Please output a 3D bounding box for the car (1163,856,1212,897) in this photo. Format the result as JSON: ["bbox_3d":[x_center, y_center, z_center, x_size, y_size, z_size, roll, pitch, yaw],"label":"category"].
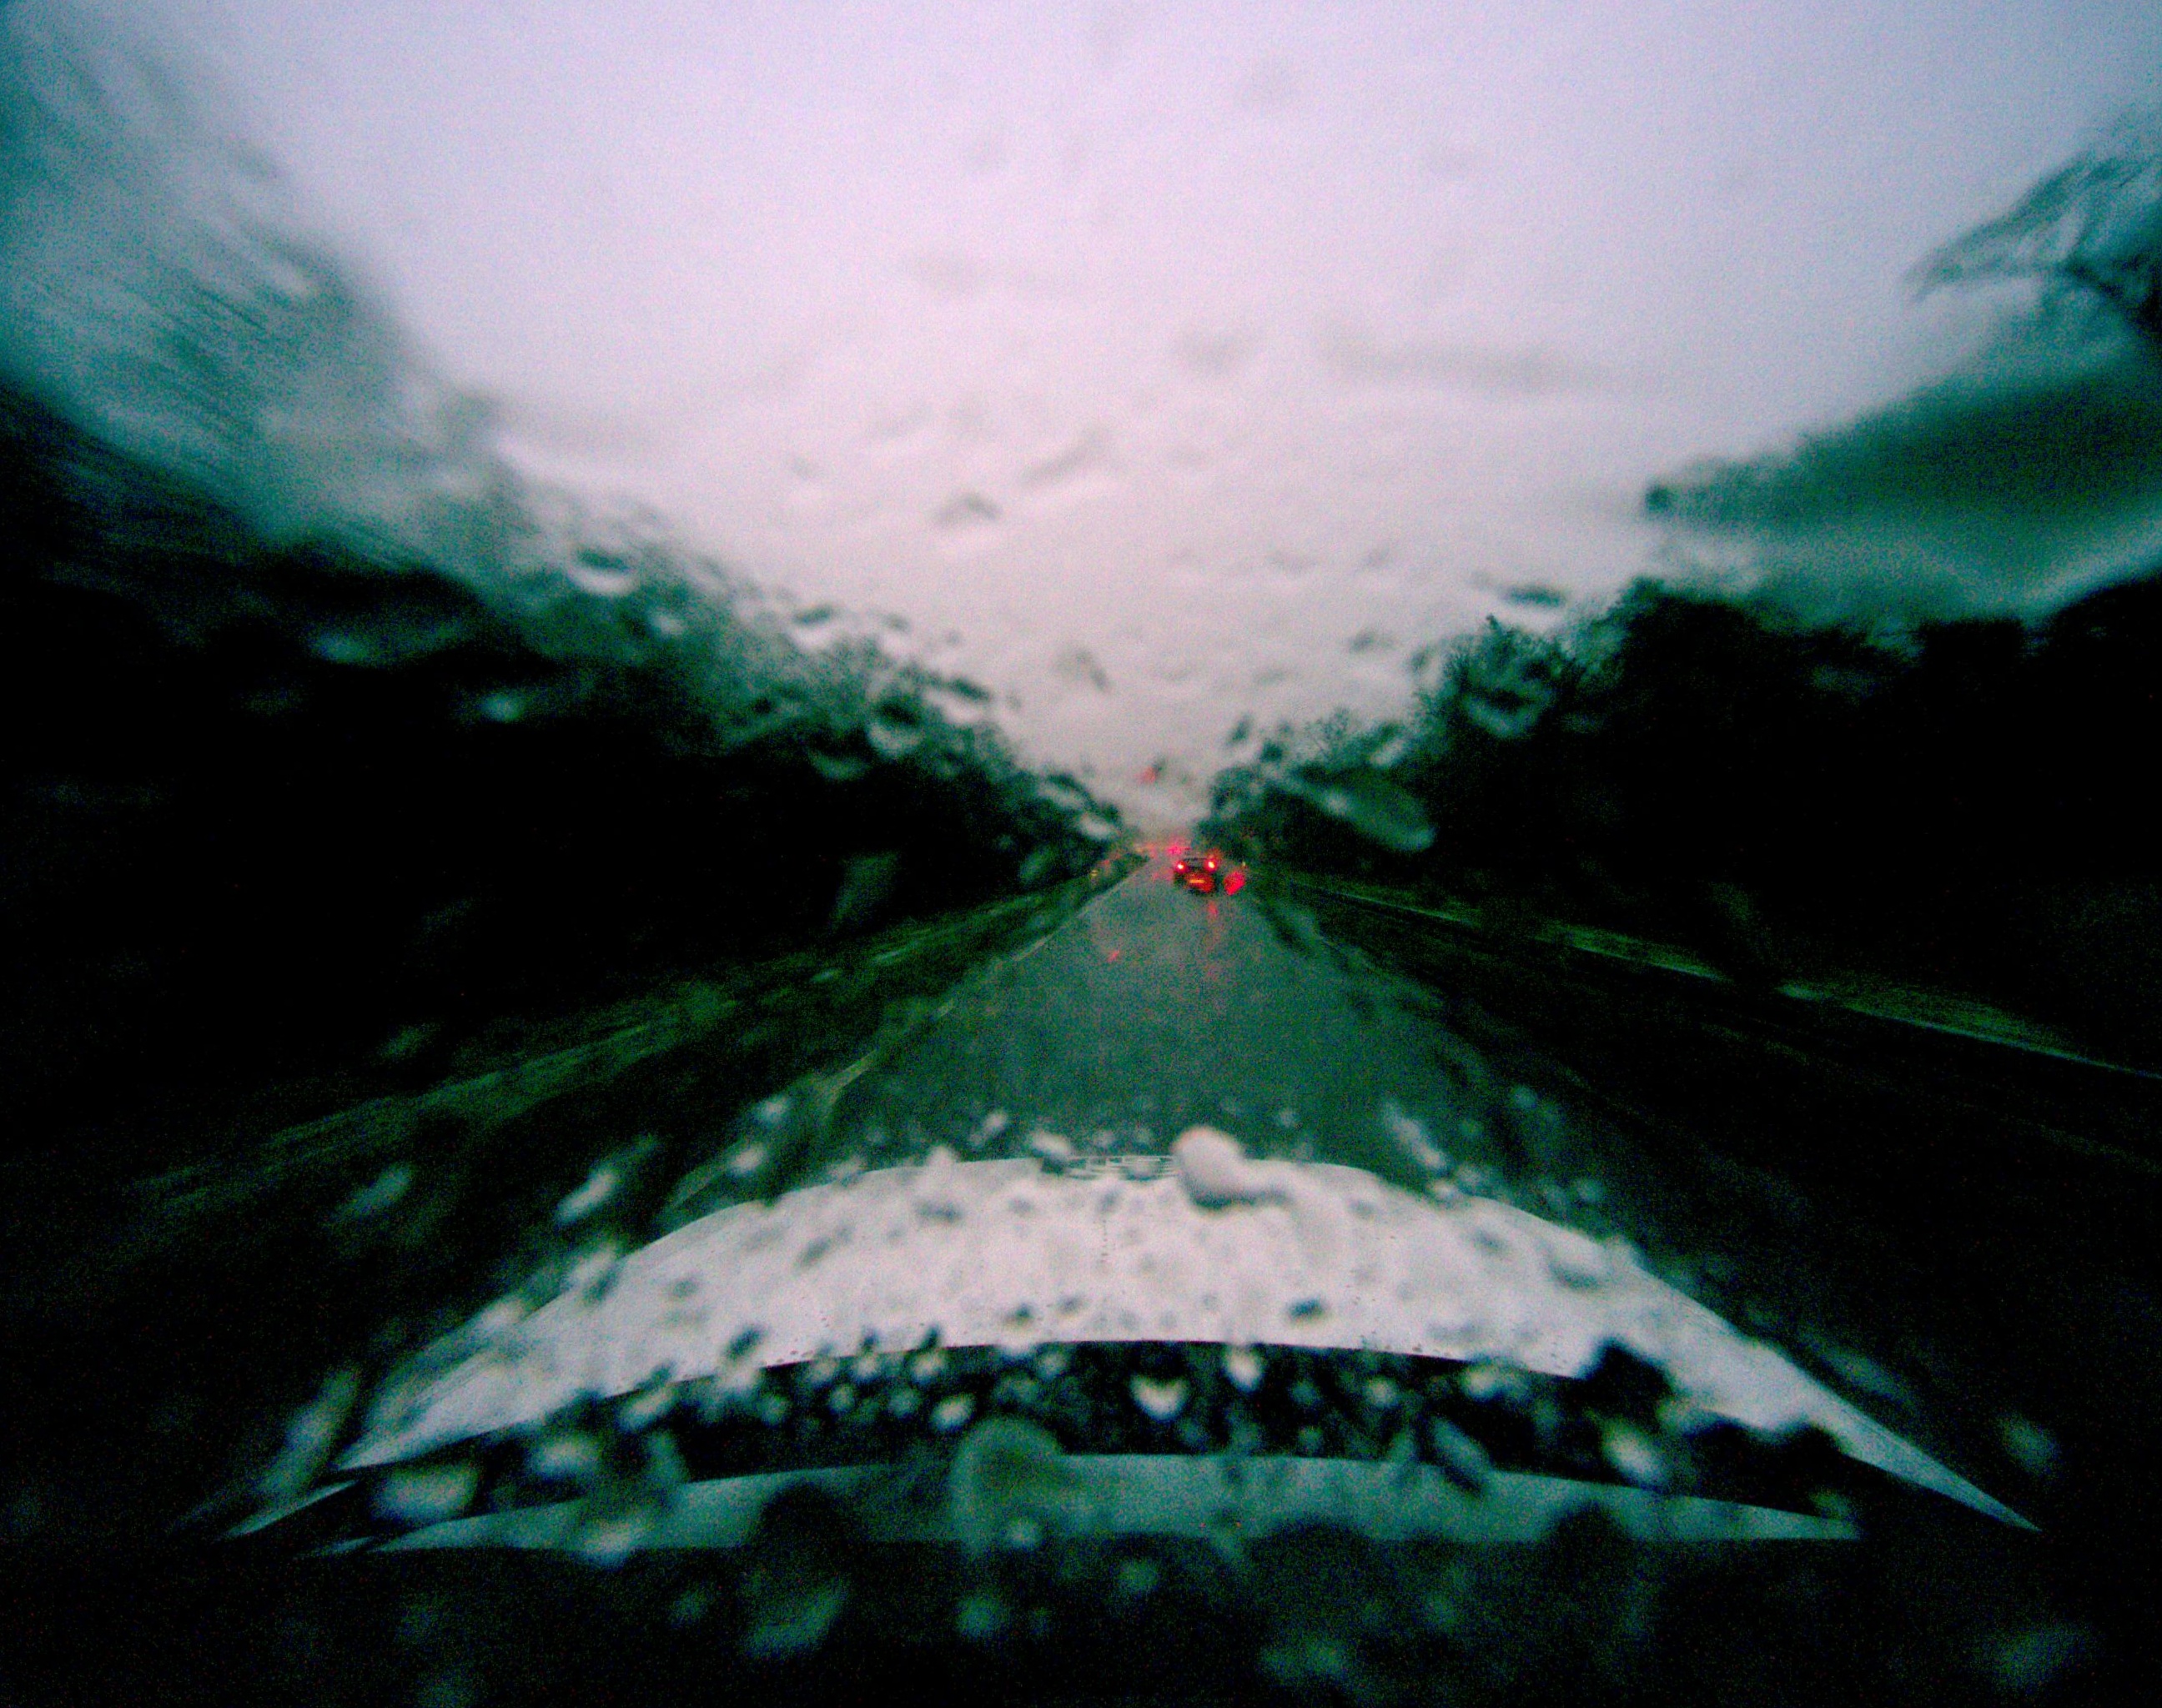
[{"bbox_3d":[4.352,0.879,32.883,1.722,1.429,3.775,-4,-1,9],"label":"car"}]
